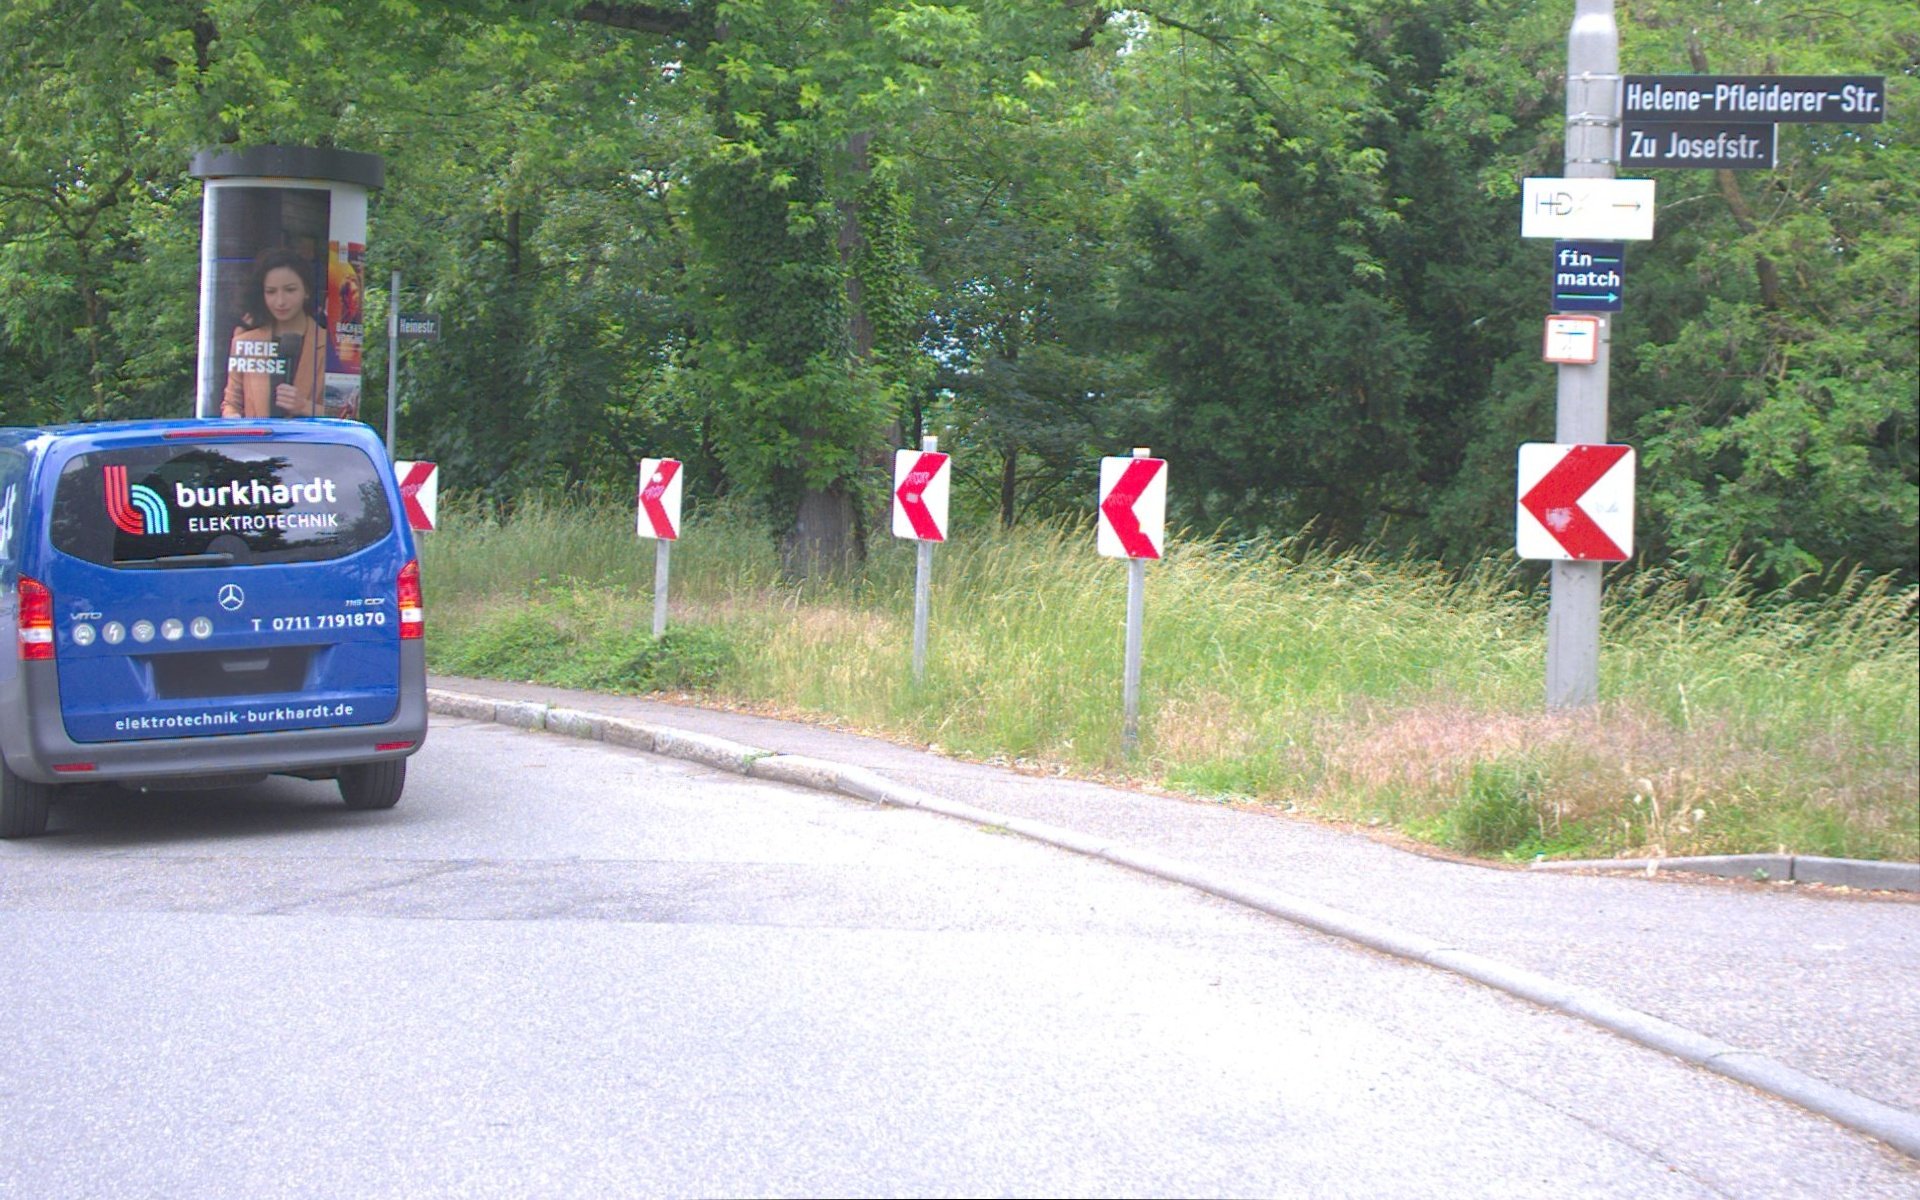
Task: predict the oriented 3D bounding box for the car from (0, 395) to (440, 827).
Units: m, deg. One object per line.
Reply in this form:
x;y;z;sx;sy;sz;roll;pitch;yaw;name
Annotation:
-4.023;-0.059;16.912;1.913;1.831;4.295;-1;3;-22;car
